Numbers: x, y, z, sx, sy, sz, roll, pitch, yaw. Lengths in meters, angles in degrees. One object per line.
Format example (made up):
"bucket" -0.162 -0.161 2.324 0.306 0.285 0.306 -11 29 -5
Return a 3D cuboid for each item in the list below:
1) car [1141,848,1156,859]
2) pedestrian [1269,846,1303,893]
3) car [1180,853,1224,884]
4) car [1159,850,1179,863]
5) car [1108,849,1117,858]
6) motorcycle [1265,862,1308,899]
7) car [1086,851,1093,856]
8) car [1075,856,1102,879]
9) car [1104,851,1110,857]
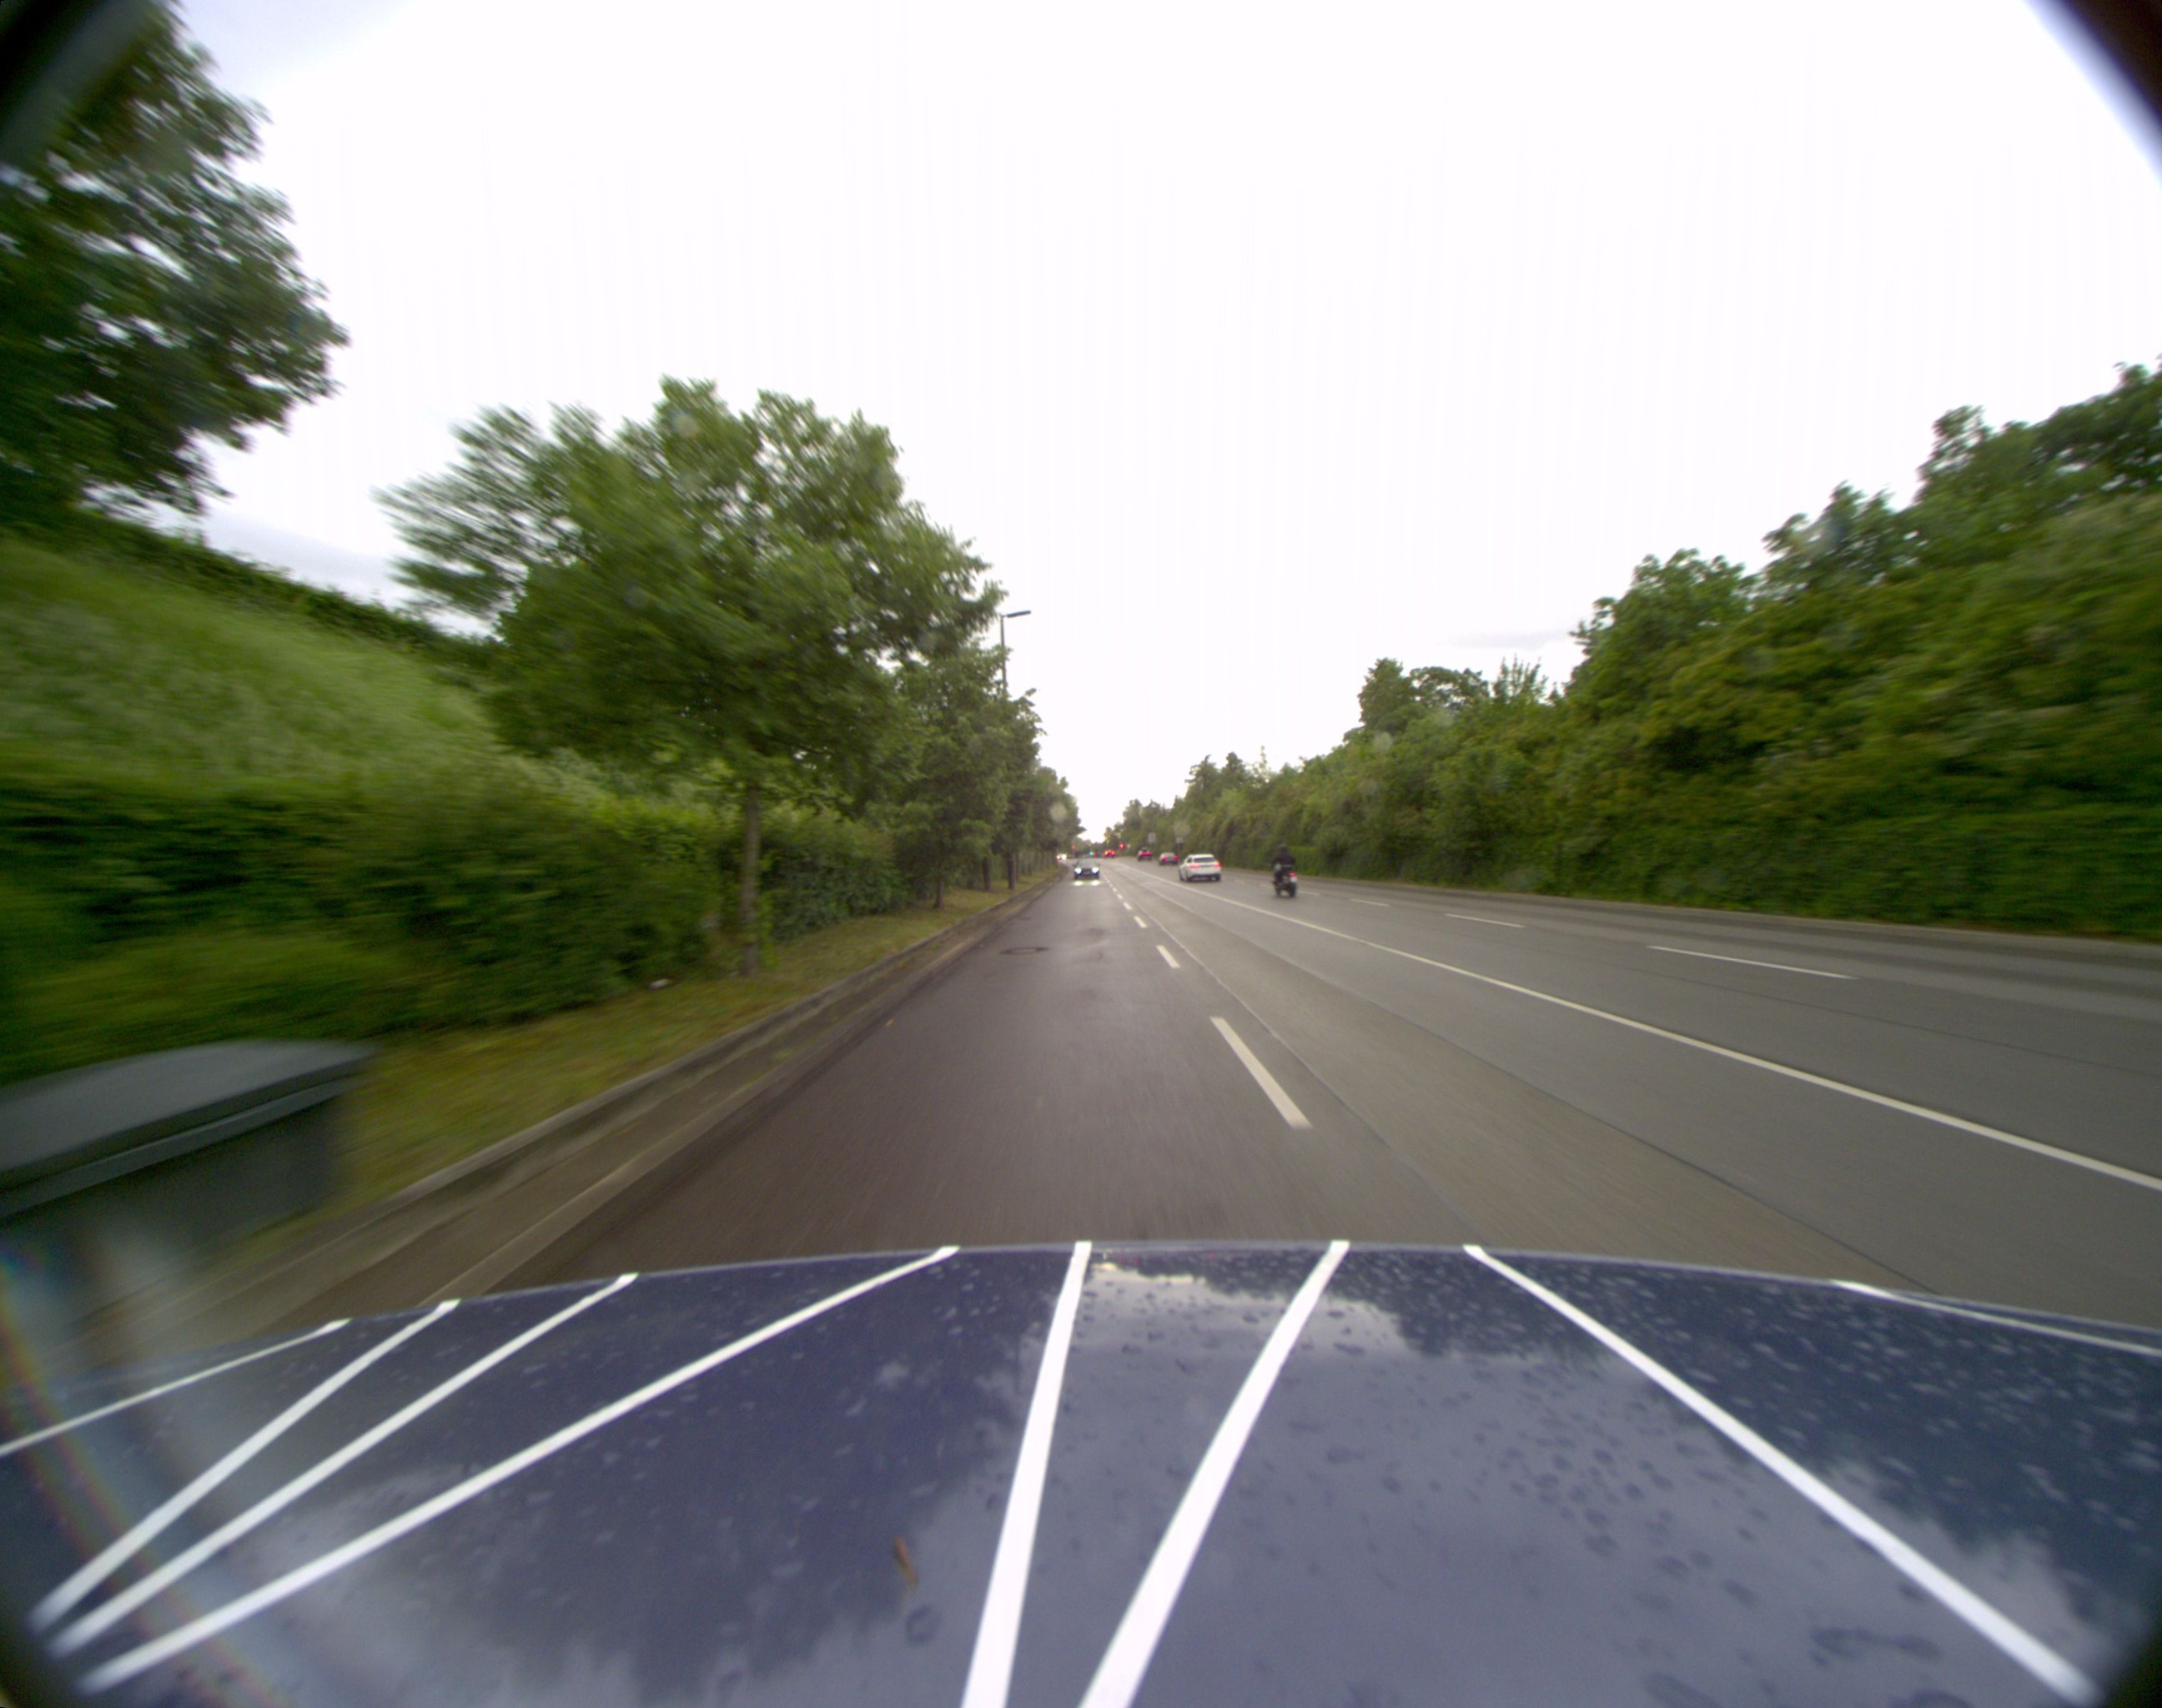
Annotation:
"car" 10.459 -0.103 118.526 1.903 1.544 4.630 -3 1 1
"pedestrian" 6.831 0.507 25.396 0.807 1.532 1.111 -2 1 1
"car" 6.663 0.762 42.192 1.719 1.496 4.516 -3 0 1
"car" 10.080 0.270 87.021 1.764 1.373 4.838 -3 0 1
"car" 6.641 -0.096 161.448 1.817 1.648 4.595 -2 1 0
"motorcycle" 6.846 0.853 25.419 0.807 1.124 2.231 -2 0 1
"car" 2.688 -0.151 243.063 1.805 1.597 4.424 -3 1 -8
"car" 0.514 0.942 55.007 1.738 1.577 4.285 -2 0 -2
"car" 7.119 -0.048 211.472 1.552 1.429 3.695 -2 1 0
